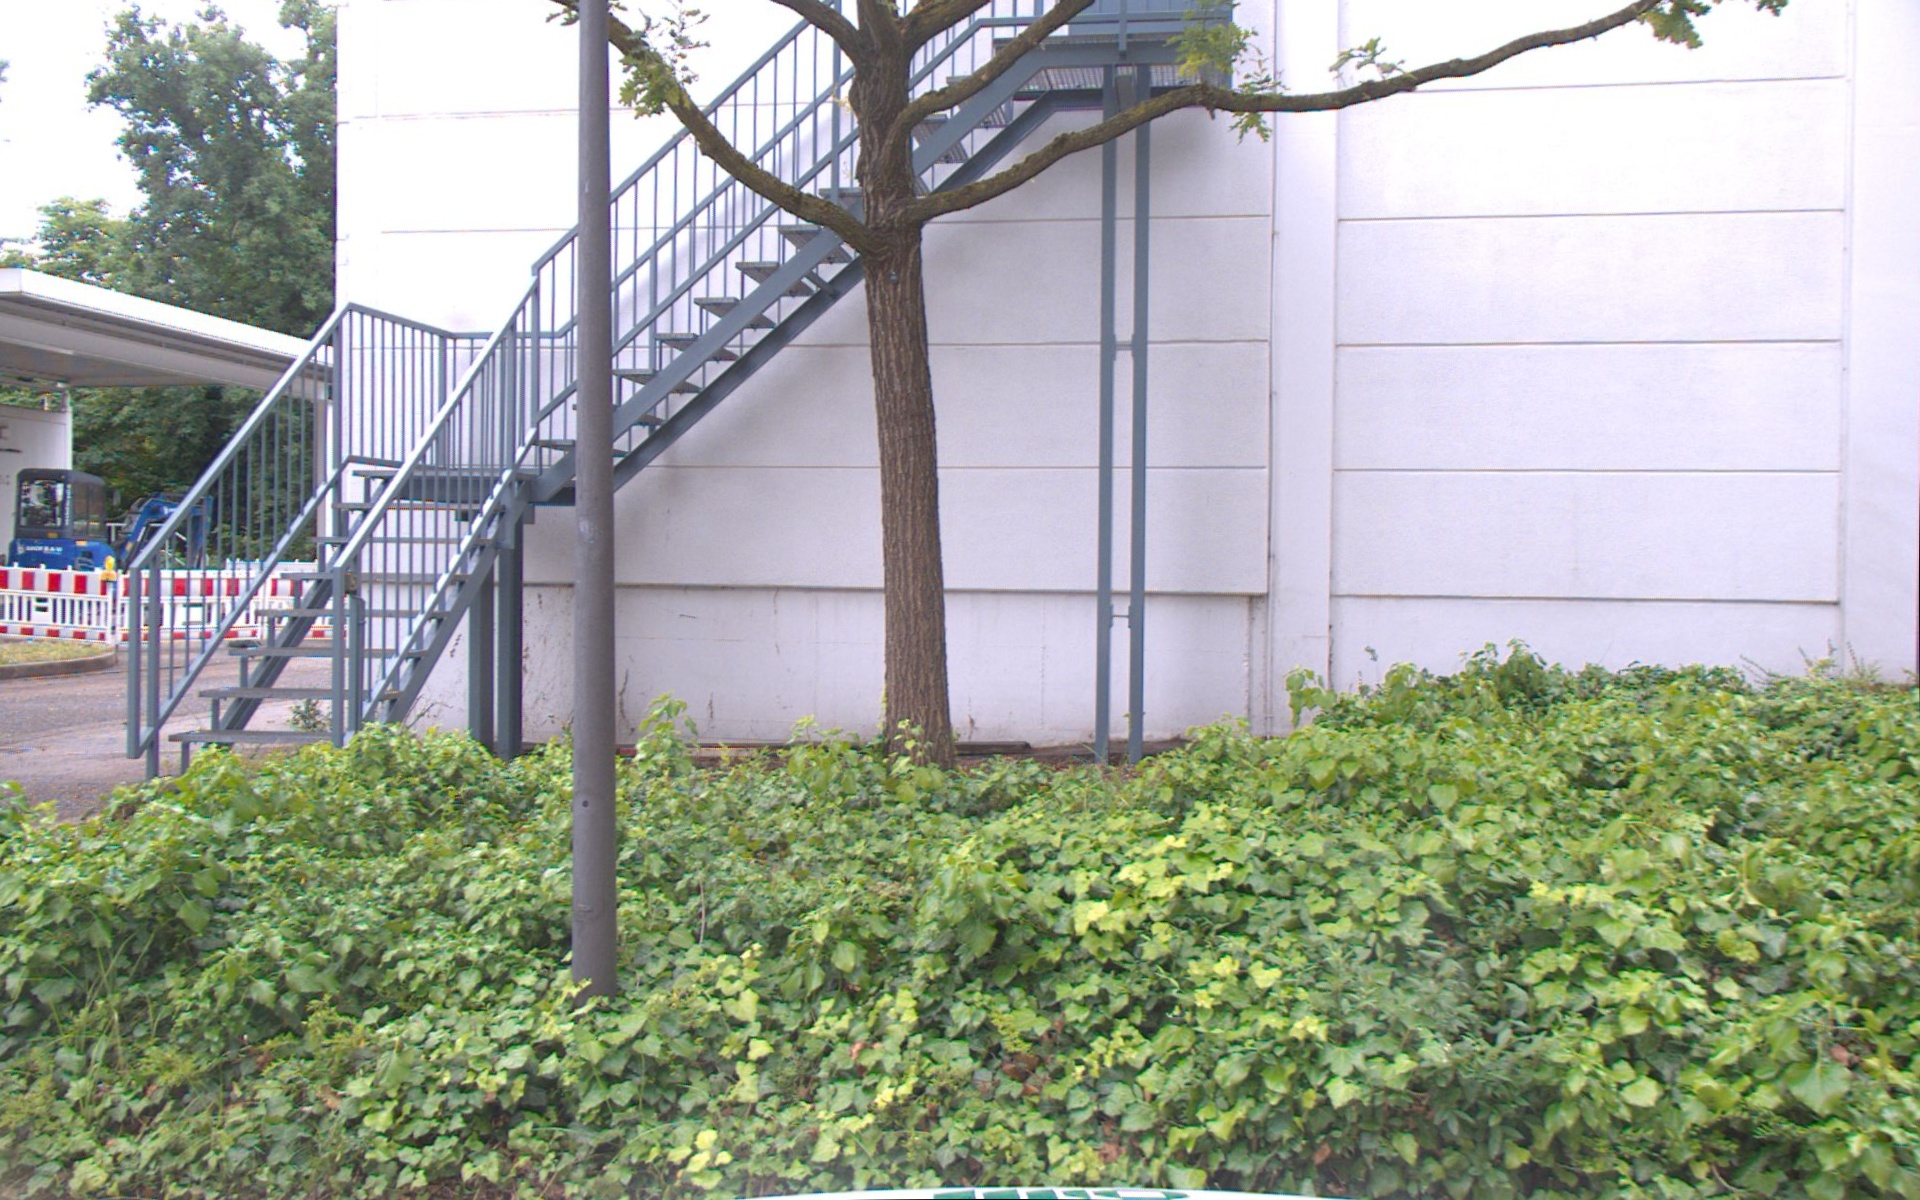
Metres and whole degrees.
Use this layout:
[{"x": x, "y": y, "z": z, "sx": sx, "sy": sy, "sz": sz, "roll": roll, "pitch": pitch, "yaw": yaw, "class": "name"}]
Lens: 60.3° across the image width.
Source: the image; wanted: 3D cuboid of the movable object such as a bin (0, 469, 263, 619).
[{"x": -13.491, "y": -0.834, "z": 26.835, "sx": 1.951, "sy": 2.209, "sz": 4.673, "roll": 1, "pitch": 0, "yaw": 6, "class": "movable object such as a bin"}]
